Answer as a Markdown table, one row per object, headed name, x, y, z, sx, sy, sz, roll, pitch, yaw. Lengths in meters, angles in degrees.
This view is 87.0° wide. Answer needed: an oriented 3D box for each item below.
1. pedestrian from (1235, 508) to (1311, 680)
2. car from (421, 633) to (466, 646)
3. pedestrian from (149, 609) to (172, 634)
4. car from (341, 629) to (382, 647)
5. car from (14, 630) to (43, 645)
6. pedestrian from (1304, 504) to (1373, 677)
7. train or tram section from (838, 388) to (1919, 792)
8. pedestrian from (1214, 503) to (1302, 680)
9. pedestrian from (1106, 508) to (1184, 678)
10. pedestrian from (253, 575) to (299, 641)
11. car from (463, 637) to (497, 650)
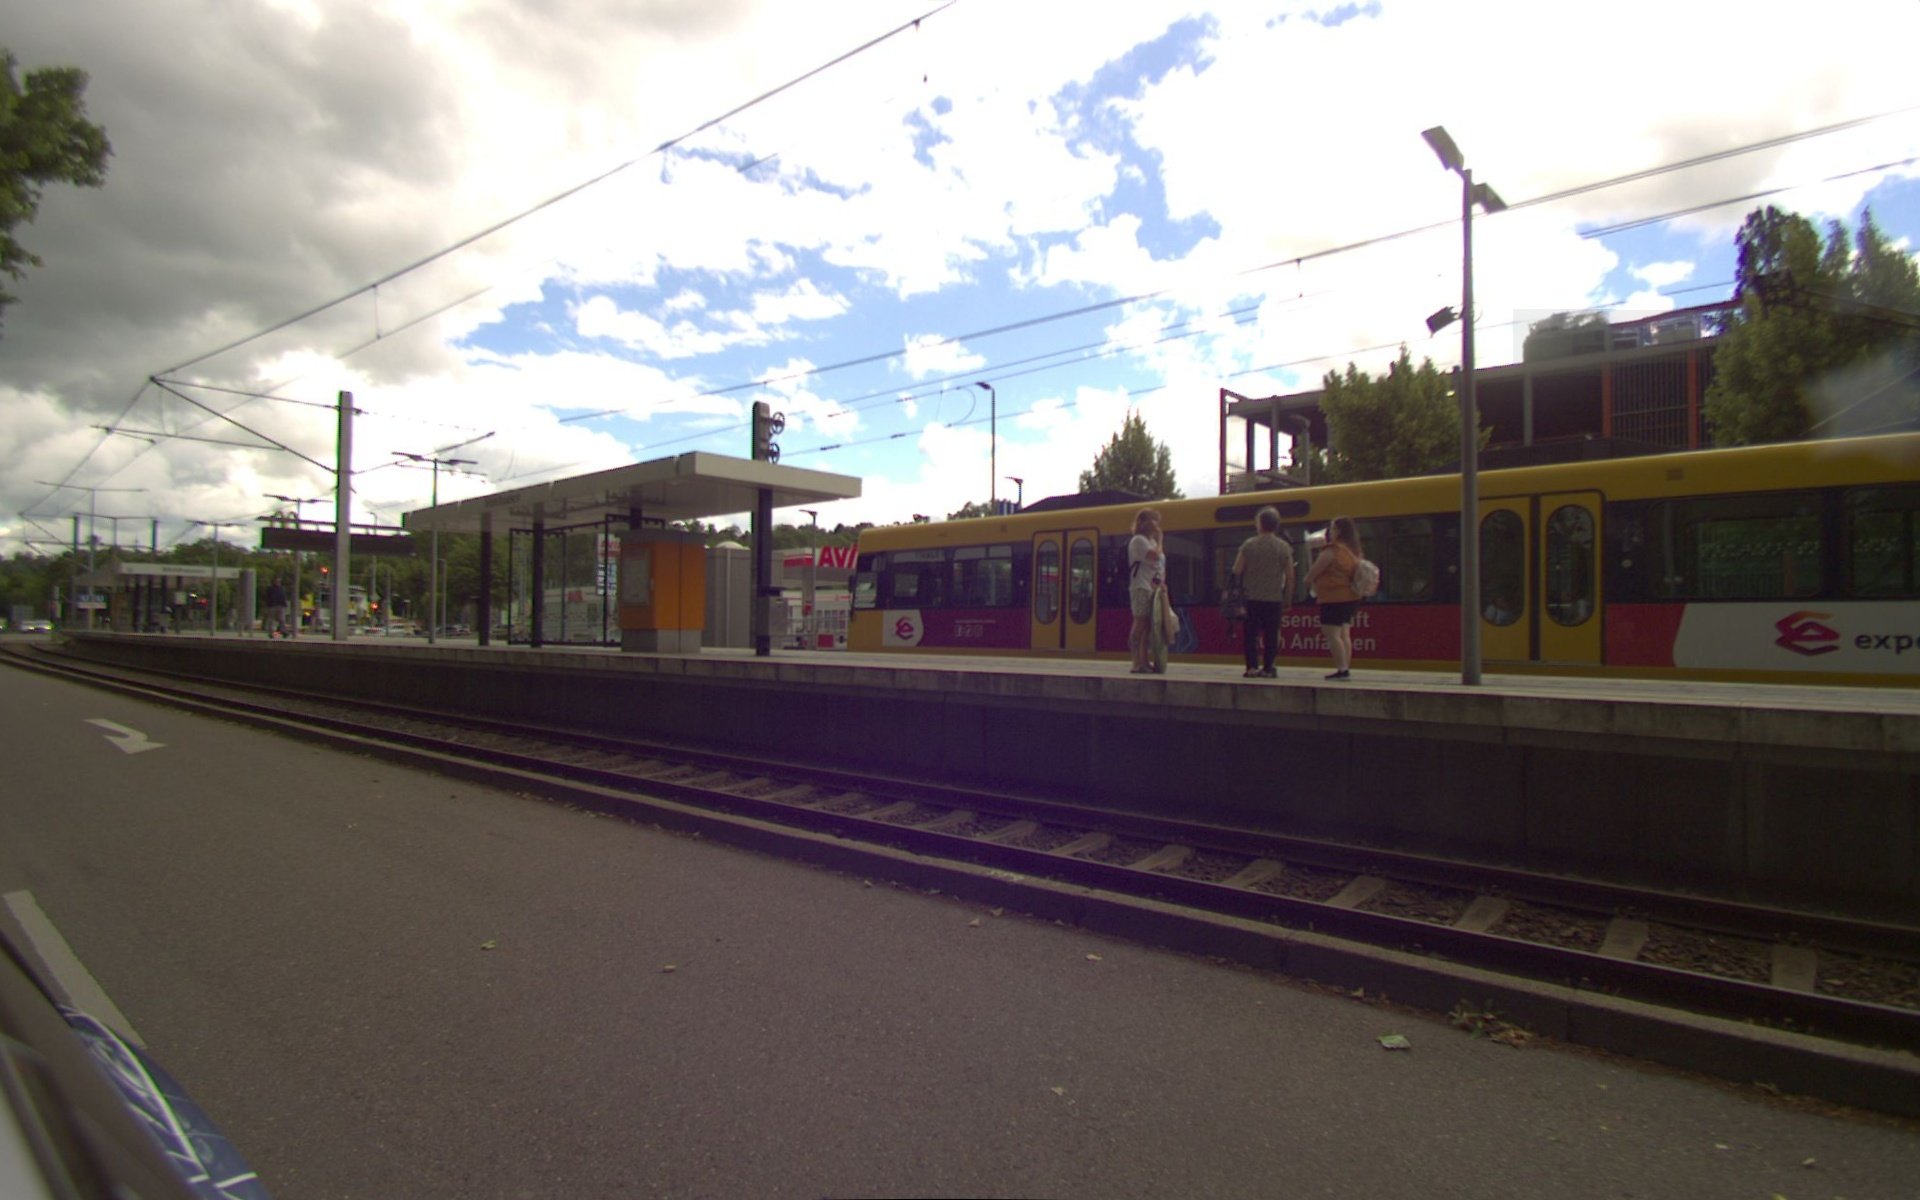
| name | x | y | z | sx | sy | sz | roll | pitch | yaw |
| --- | --- | --- | --- | --- | --- | --- | --- | --- | --- |
| pedestrian | 2.835 | -0.040 | 9.158 | 0.541 | 1.494 | 0.471 | -1 | -4 | 35 |
| car | -59.215 | 4.496 | 116.111 | 1.788 | 1.443 | 4.374 | -1 | -2 | 29 |
| pedestrian | -37.924 | 1.019 | 48.014 | 0.760 | 1.198 | 0.728 | 3 | -3 | -45 |
| car | -45.722 | 2.900 | 77.336 | 4.030 | 1.360 | 1.595 | -2 | -3 | 43 |
| car | -100.432 | 4.069 | 109.142 | 1.937 | 1.564 | 4.007 | 4 | -4 | -39 |
| pedestrian | 3.207 | -0.064 | 8.571 | 0.411 | 1.416 | 0.474 | -1 | -4 | 40 |
| train or tram section | 5.196 | 0.106 | 15.565 | 18.632 | 3.912 | 2.726 | -2 | -3 | 43 |
| pedestrian | 2.574 | -0.061 | 8.756 | 0.639 | 1.476 | 0.357 | -2 | -3 | 41 |
| pedestrian | 1.686 | -0.046 | 9.274 | 0.512 | 1.494 | 0.583 | 2 | -3 | -10 |
| pedestrian | -18.781 | 0.225 | 27.787 | 0.936 | 1.757 | 0.741 | -2 | -4 | 42 |
| car | -58.559 | 5.313 | 123.549 | 3.578 | 1.566 | 1.733 | 2 | -3 | -20 |
